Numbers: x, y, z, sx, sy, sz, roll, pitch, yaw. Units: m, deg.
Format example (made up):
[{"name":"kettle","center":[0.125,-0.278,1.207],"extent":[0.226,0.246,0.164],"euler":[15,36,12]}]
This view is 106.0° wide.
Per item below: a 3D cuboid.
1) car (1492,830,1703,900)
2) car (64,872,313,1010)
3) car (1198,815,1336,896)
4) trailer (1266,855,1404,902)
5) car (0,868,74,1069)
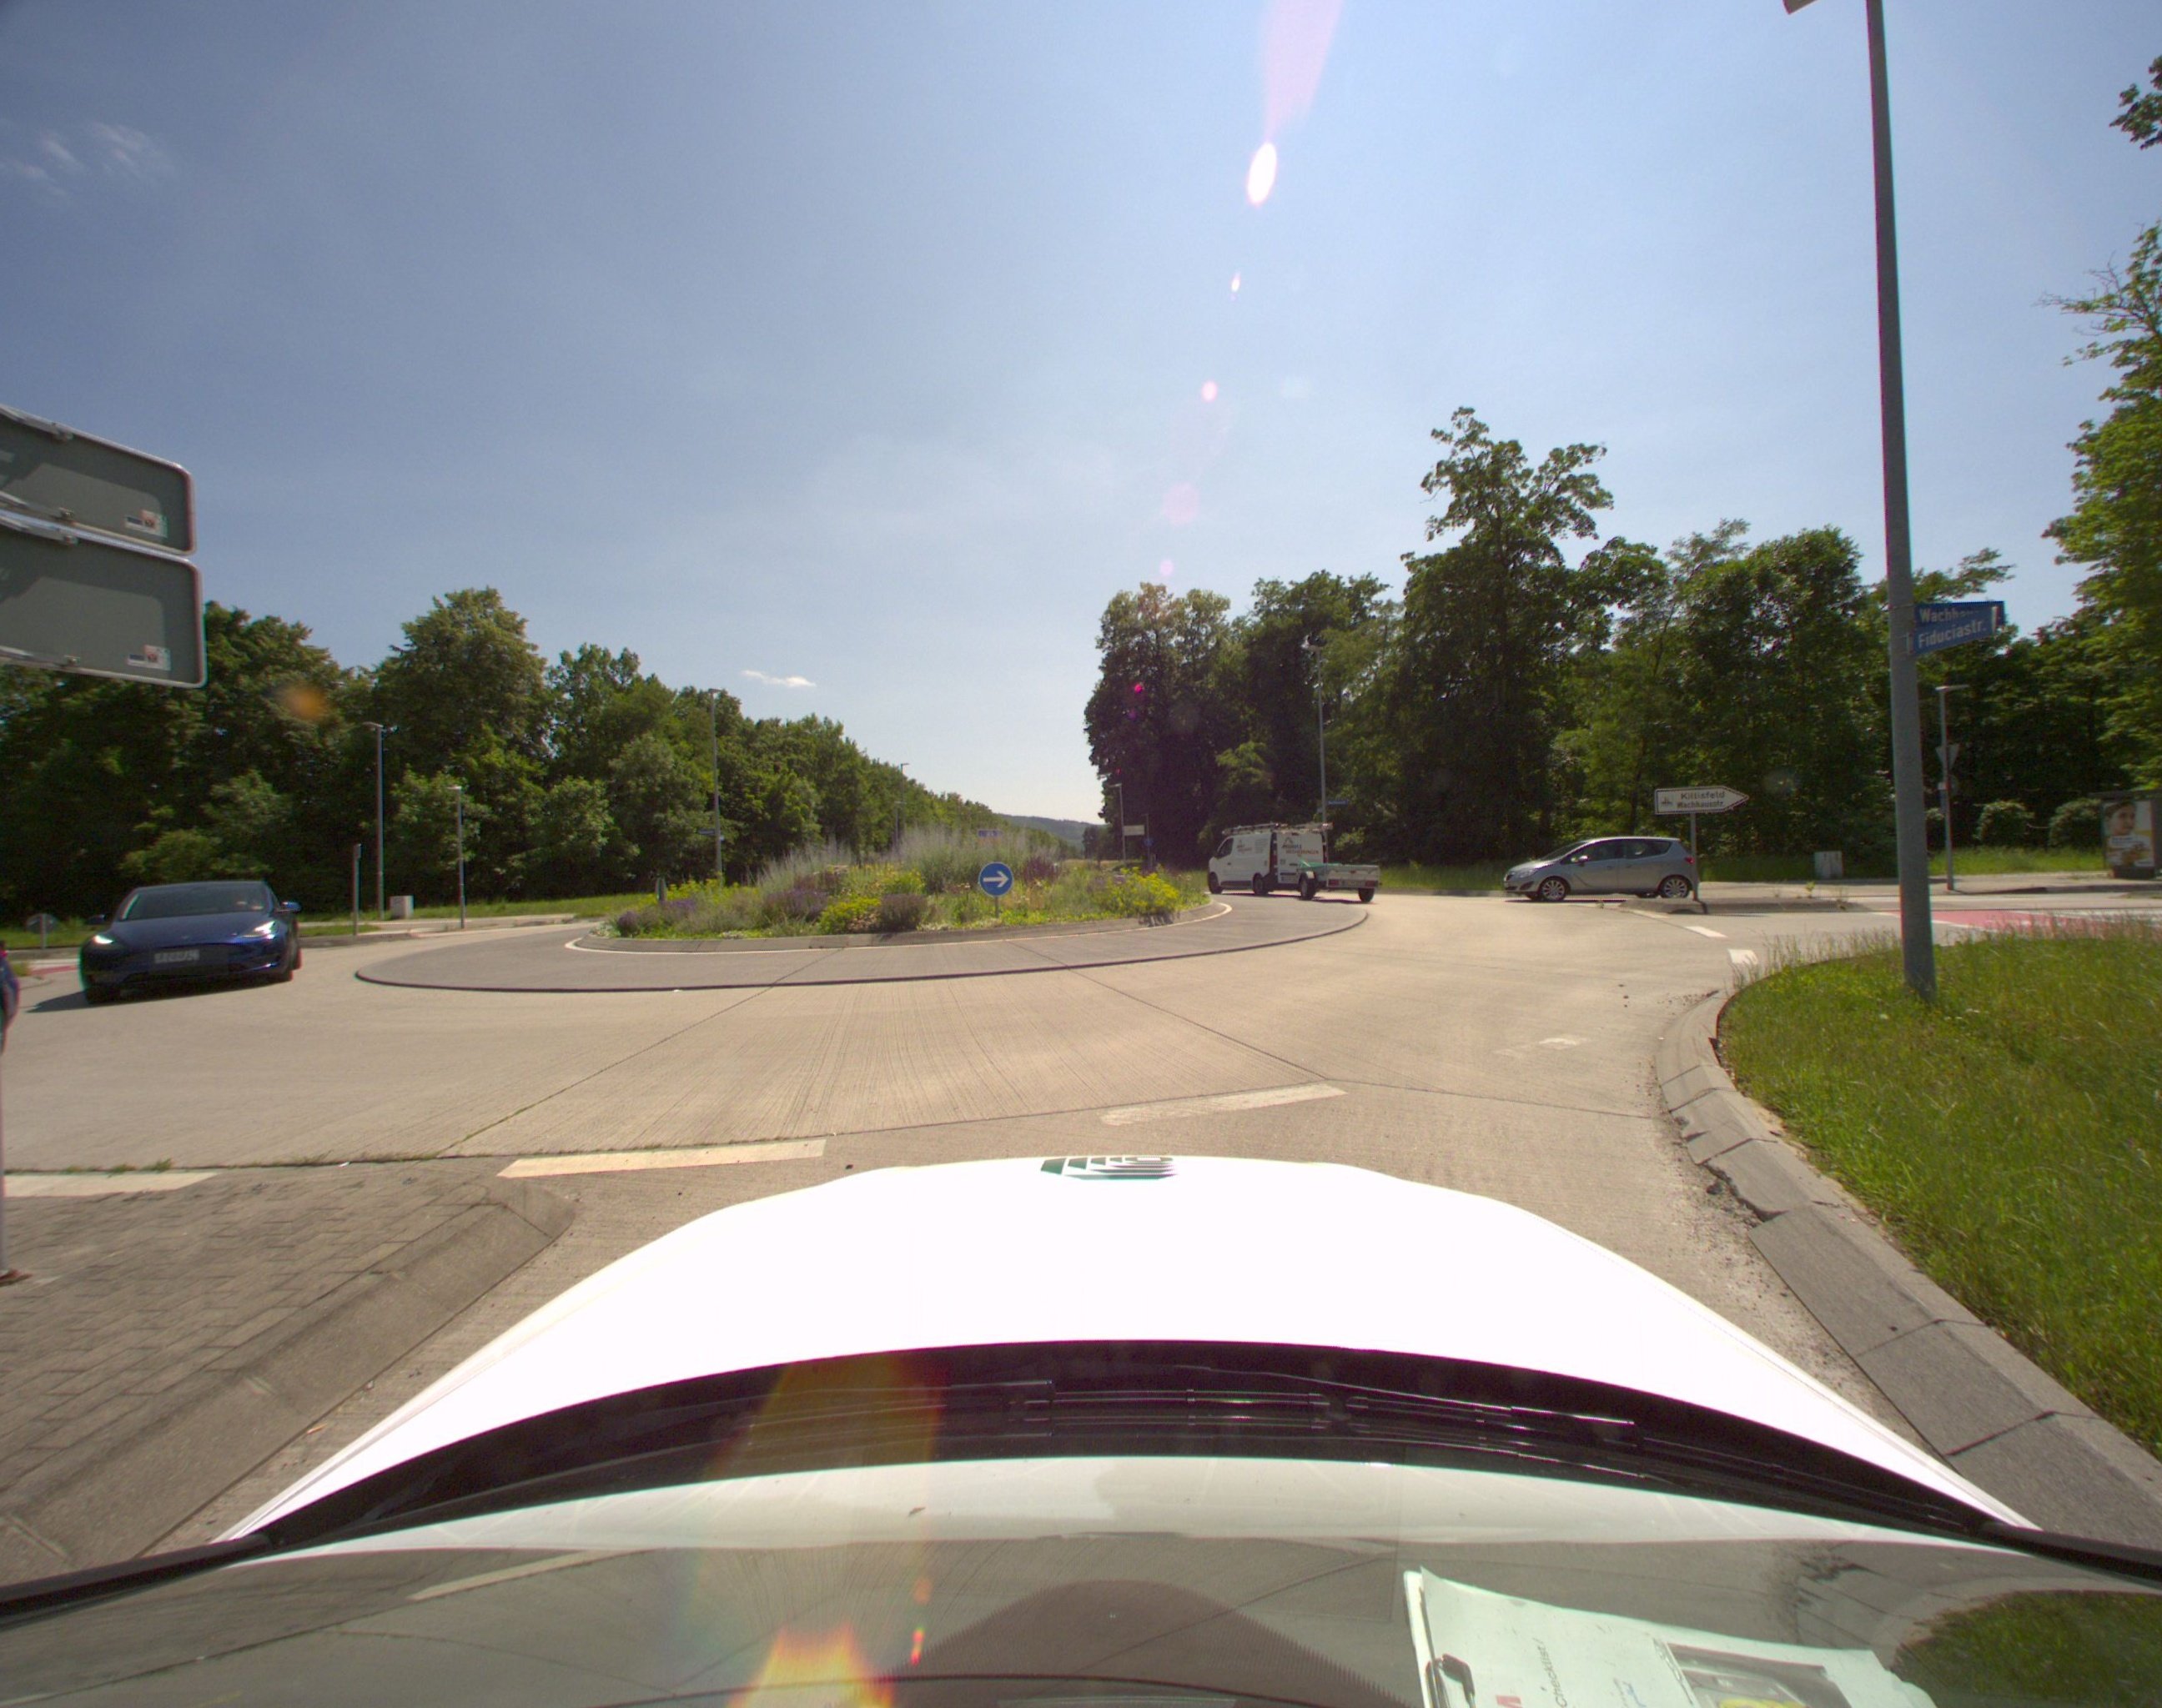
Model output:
[{"name":"car","center":[12.800,0.298,20.446],"extent":[4.085,1.607,1.797],"euler":[-1,-1,13]},{"name":"car","center":[-13.305,1.147,12.473],"extent":[2.011,1.640,4.700],"euler":[-1,-1,-41]},{"name":"car","center":[5.709,0.072,25.772],"extent":[2.170,2.316,4.954],"euler":[-1,-1,-15]},{"name":"trailer","center":[6.651,0.620,21.691],"extent":[2.124,1.097,3.339],"euler":[-1,-1,-13]},{"name":"car","center":[-9.003,0.971,4.907],"extent":[2.004,1.596,4.285],"euler":[-3,1,-27]}]
